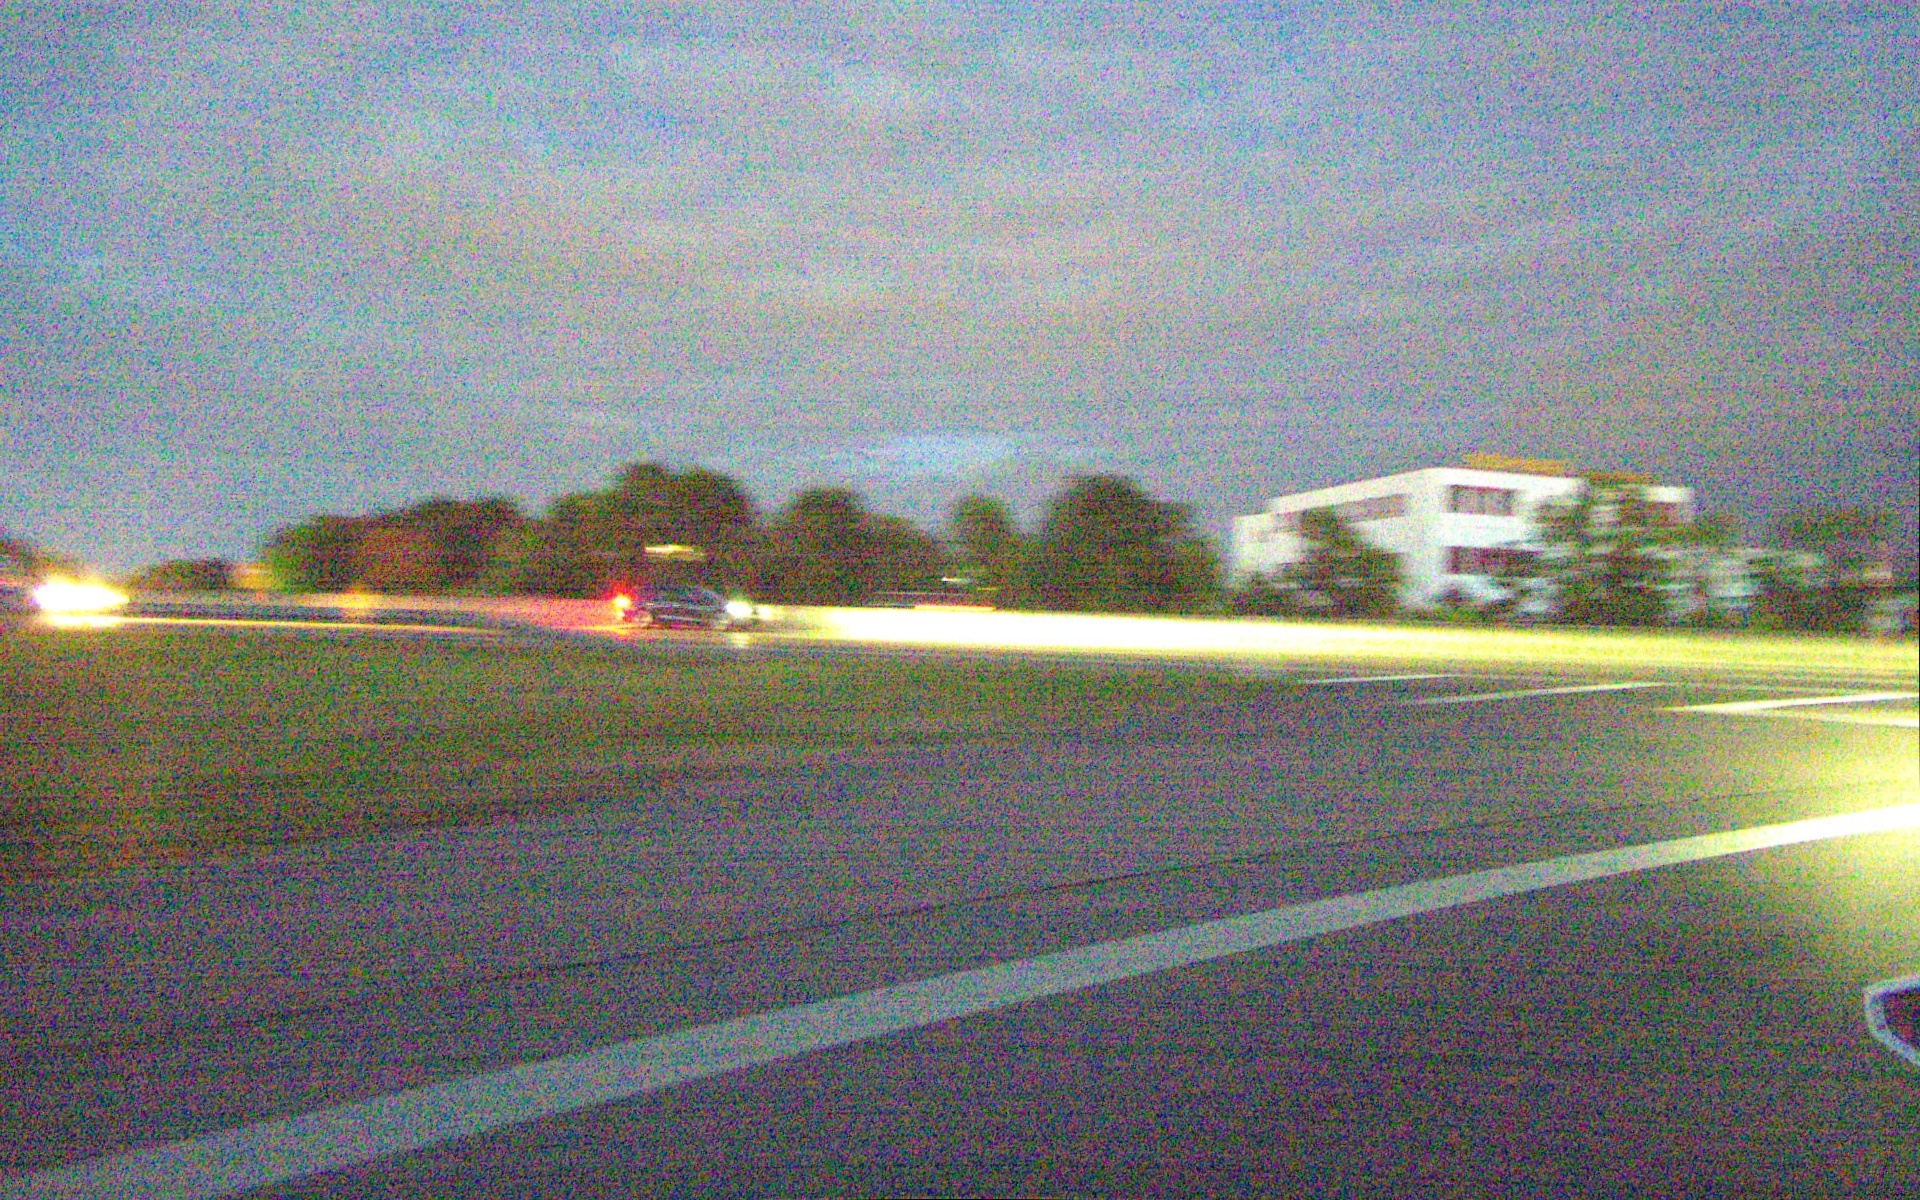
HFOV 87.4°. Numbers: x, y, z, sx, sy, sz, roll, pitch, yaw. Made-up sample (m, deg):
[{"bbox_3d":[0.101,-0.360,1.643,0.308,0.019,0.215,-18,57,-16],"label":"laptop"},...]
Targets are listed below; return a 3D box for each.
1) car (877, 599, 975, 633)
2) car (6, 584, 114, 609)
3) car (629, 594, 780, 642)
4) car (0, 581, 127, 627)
[{"bbox_3d":[-1.342,0.619,40.527,3.640,1.294,1.630,1,0,11],"label":"car"},{"bbox_3d":[-42.625,-0.185,47.596,3.919,1.073,1.565,1,1,5],"label":"car"},{"bbox_3d":[-8.170,0.565,32.272,4.411,1.419,1.611,1,1,7],"label":"car"},{"bbox_3d":[-29.401,0.122,32.678,3.557,1.387,1.733,1,0,13],"label":"car"}]
